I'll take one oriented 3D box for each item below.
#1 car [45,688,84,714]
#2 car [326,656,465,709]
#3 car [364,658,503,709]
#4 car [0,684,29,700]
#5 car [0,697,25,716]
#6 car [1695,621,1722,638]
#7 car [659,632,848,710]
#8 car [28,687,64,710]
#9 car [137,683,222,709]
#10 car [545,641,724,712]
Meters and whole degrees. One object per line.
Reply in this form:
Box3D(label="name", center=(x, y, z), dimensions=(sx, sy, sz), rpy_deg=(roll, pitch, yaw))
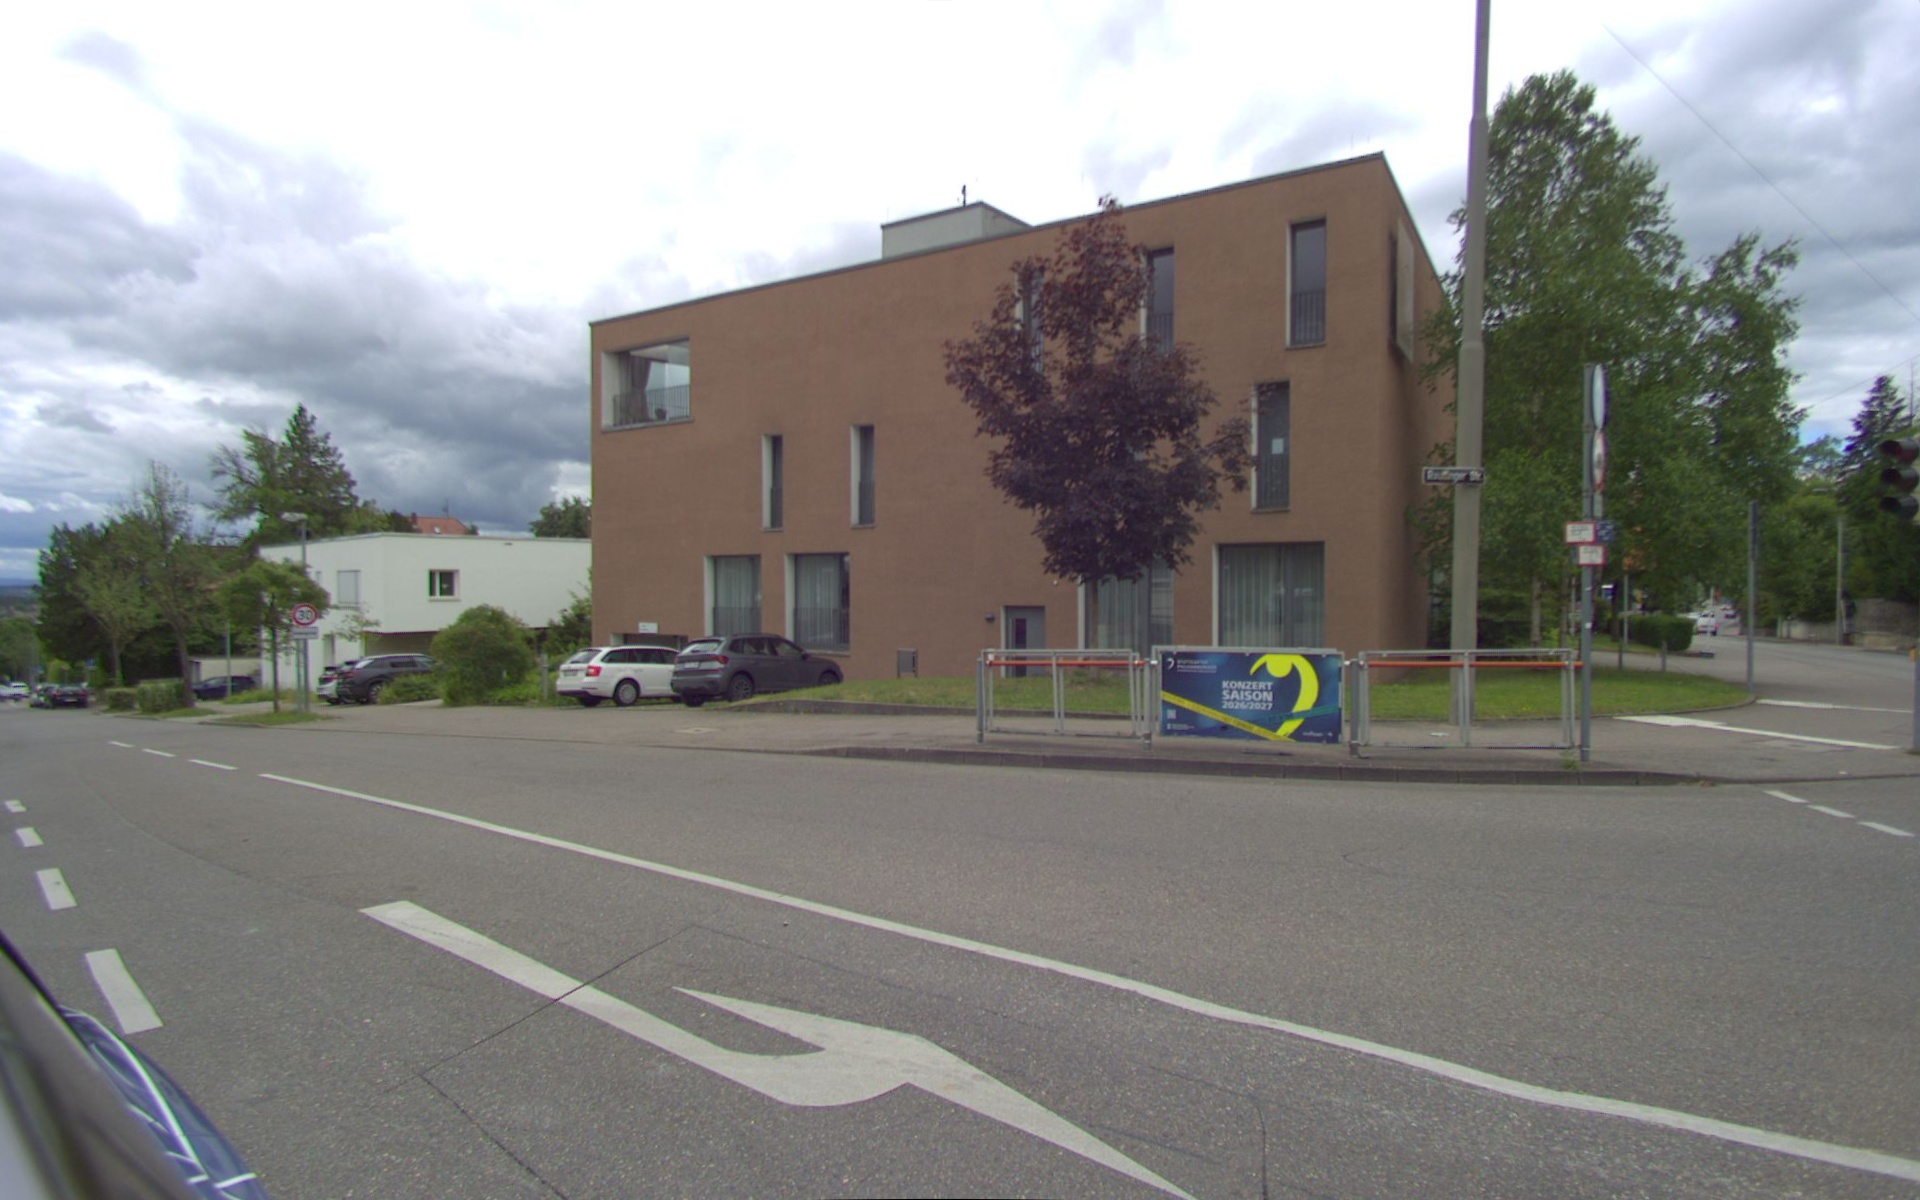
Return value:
Box3D(label="car", center=(-54.935, 6.180, 62.065), dimensions=(1.638, 1.432, 4.003), rpy_deg=(0, -4, -44))
Box3D(label="car", center=(-19.975, 2.905, 35.932), dimensions=(1.793, 1.608, 3.943), rpy_deg=(-6, -4, 43))
Box3D(label="car", center=(-18.232, 2.884, 35.147), dimensions=(1.727, 1.497, 3.943), rpy_deg=(-6, -4, 43))
Box3D(label="car", center=(-95.908, 9.314, 102.348), dimensions=(4.362, 1.432, 1.861), rpy_deg=(-3, -3, 38))
Box3D(label="car", center=(-83.309, 9.190, 86.912), dimensions=(4.306, 1.432, 1.885), rpy_deg=(-1, -2, 0))
Box3D(label="car", center=(77.622, 3.035, 104.936), dimensions=(1.807, 1.724, 3.993), rpy_deg=(-1, -2, 31))
Box3D(label="car", center=(-4.497, 1.531, 22.518), dimensions=(1.724, 1.497, 3.950), rpy_deg=(-5, -4, 37))
Box3D(label="car", center=(-61.557, 6.639, 68.143), dimensions=(1.638, 1.432, 4.371), rpy_deg=(0, -4, -44))
Box3D(label="car", center=(-46.972, 5.747, 60.931), dimensions=(3.939, 1.296, 1.665), rpy_deg=(0, -4, -43))
Box3D(label="car", center=(-7.997, 1.862, 25.120), dimensions=(1.724, 1.497, 3.950), rpy_deg=(-5, -4, 37))
